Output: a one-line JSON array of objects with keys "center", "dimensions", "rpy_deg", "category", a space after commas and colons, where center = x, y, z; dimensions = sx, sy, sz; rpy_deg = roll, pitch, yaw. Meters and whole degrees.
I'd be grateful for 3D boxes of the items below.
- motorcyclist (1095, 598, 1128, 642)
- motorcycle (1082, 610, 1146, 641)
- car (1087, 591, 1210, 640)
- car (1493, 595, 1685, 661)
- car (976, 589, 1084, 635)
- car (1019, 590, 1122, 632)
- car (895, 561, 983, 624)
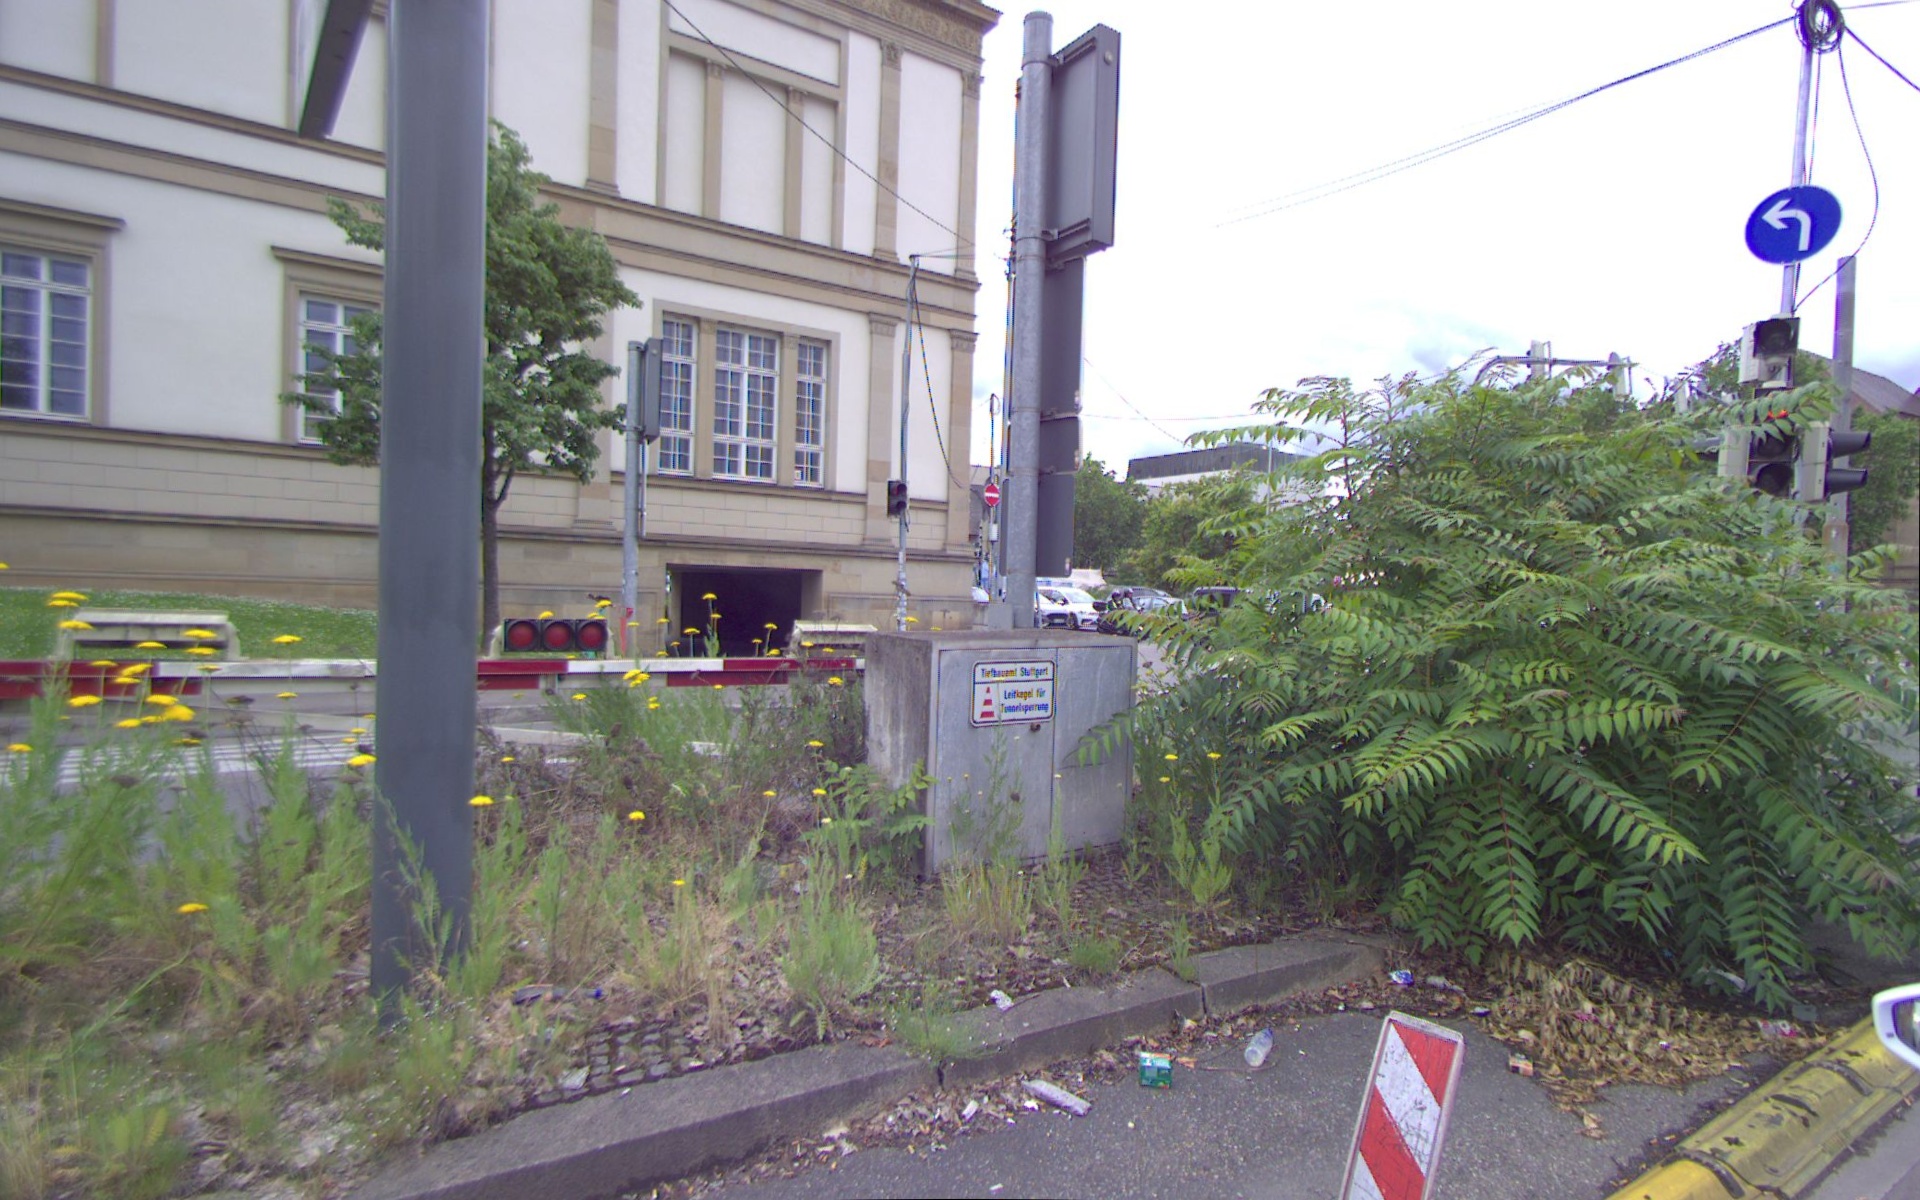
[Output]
[{"center": [4.950, 0.662, 32.907], "dimensions": [0.690, 1.398, 0.784], "rpy_deg": [2, 0, -33], "category": "motorcyclist"}, {"center": [4.999, 0.821, 32.818], "dimensions": [0.690, 0.953, 2.335], "rpy_deg": [2, 0, -32], "category": "motorcycle"}, {"center": [6.540, 0.517, 35.248], "dimensions": [1.978, 1.568, 4.084], "rpy_deg": [2, 0, -32], "category": "car"}, {"center": [18.719, 0.796, 30.093], "dimensions": [1.981, 1.783, 4.458], "rpy_deg": [2, 0, -36], "category": "car"}, {"center": [2.549, 0.419, 37.574], "dimensions": [1.978, 1.568, 4.083], "rpy_deg": [2, 0, -32], "category": "car"}, {"center": [4.399, 0.421, 40.560], "dimensions": [1.978, 1.568, 4.083], "rpy_deg": [2, 0, -32], "category": "car"}, {"center": [-0.969, -0.328, 43.619], "dimensions": [1.978, 2.585, 4.083], "rpy_deg": [2, 0, -32], "category": "car"}]
